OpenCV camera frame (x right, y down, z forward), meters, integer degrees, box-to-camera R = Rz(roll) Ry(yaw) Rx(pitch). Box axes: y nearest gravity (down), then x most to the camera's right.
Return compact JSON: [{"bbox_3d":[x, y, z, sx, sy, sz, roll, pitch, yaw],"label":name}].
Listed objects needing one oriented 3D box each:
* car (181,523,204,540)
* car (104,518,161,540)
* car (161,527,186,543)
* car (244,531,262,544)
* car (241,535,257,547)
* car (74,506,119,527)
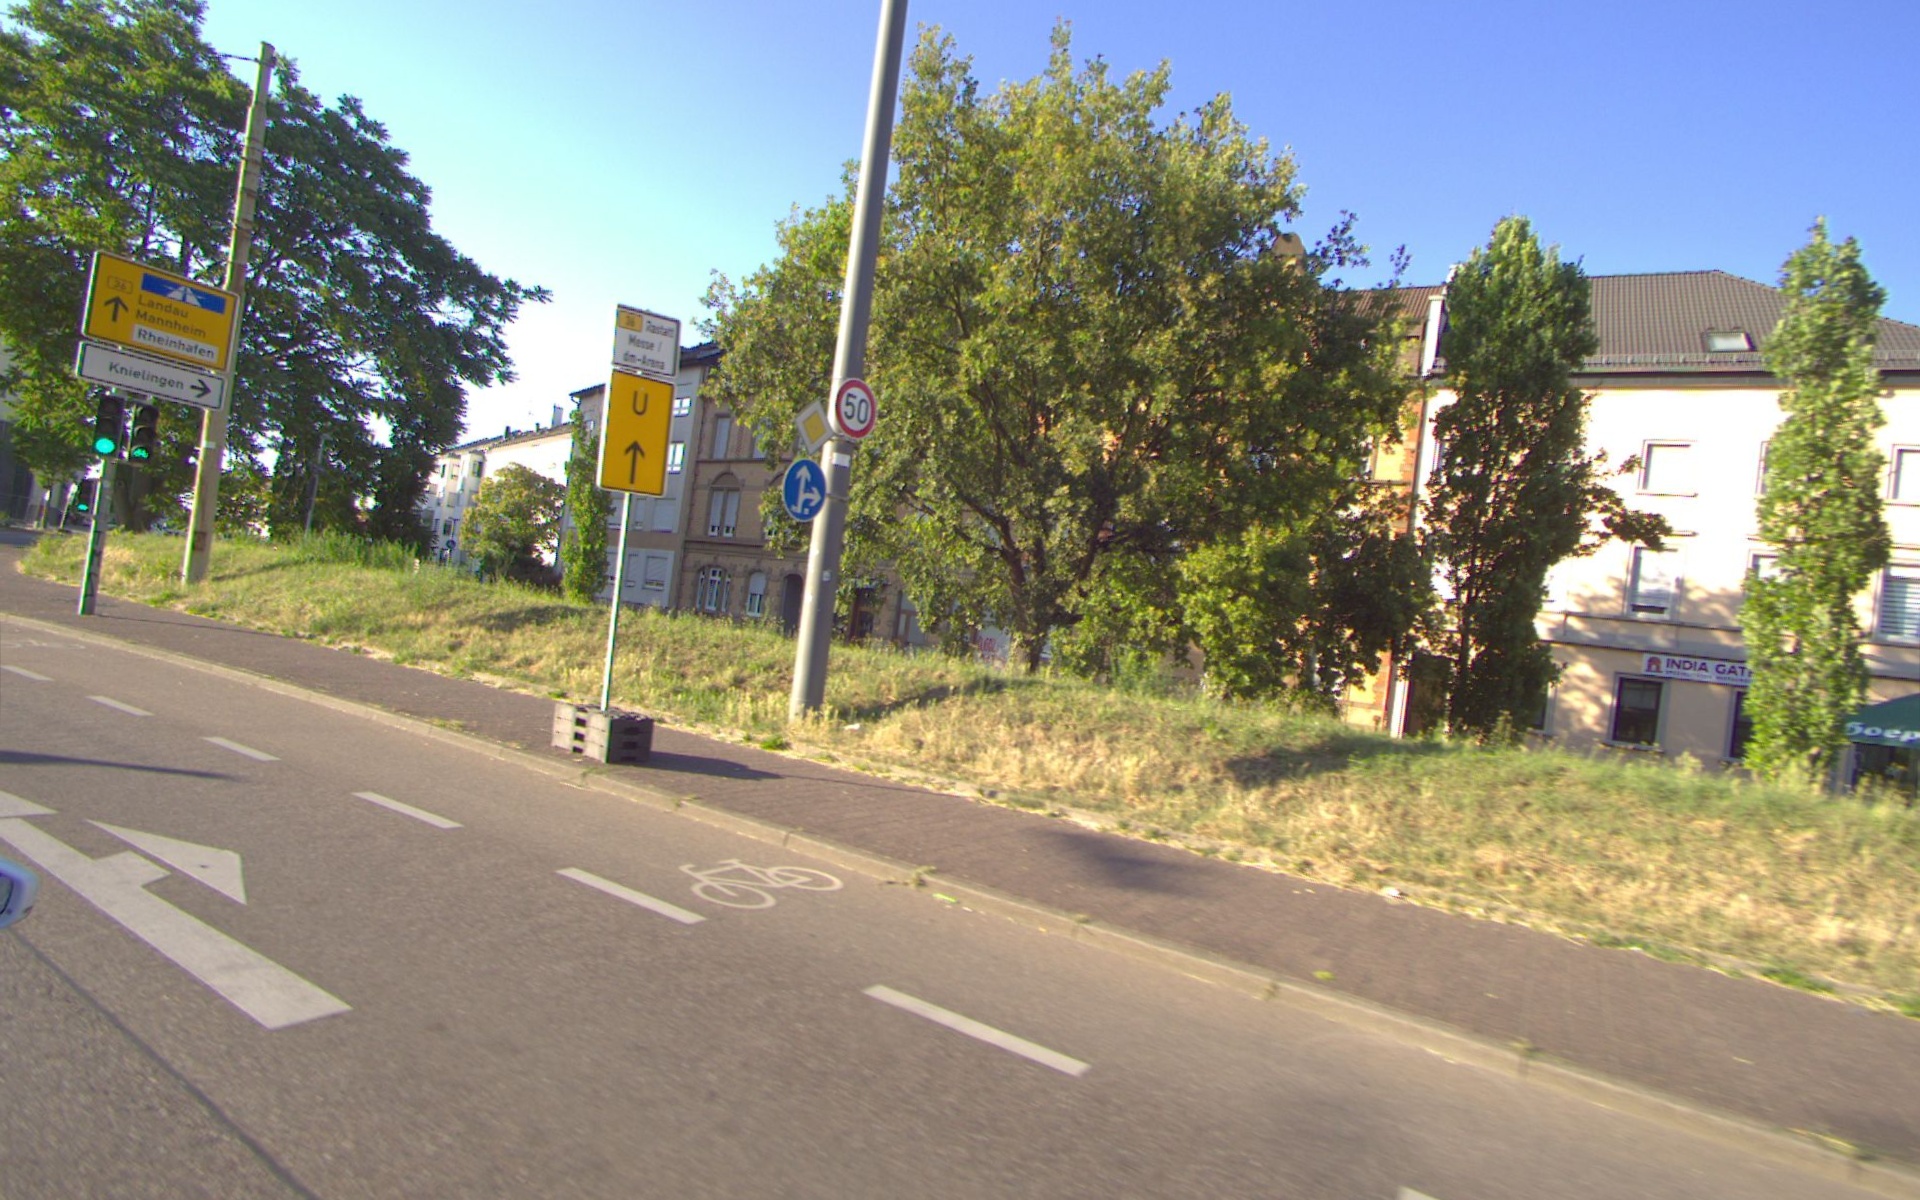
[{"bbox_3d":[-98.779,-8.772,129.545,1.846,1.926,3.967,7,-1,-32],"label":"car"},{"bbox_3d":[-71.446,-6.104,86.910,3.688,1.316,1.494,9,-2,-41],"label":"car"},{"bbox_3d":[-87.129,-7.182,111.459,1.864,1.476,3.749,8,-1,-36],"label":"car"},{"bbox_3d":[-100.216,-8.858,142.596,1.848,1.562,3.842,8,-1,-35],"label":"car"},{"bbox_3d":[-108.821,-8.975,154.012,1.848,1.562,3.962,8,-1,-35],"label":"car"},{"bbox_3d":[-107.532,-10.375,125.272,3.966,1.926,1.847,8,-1,-36],"label":"car"}]
